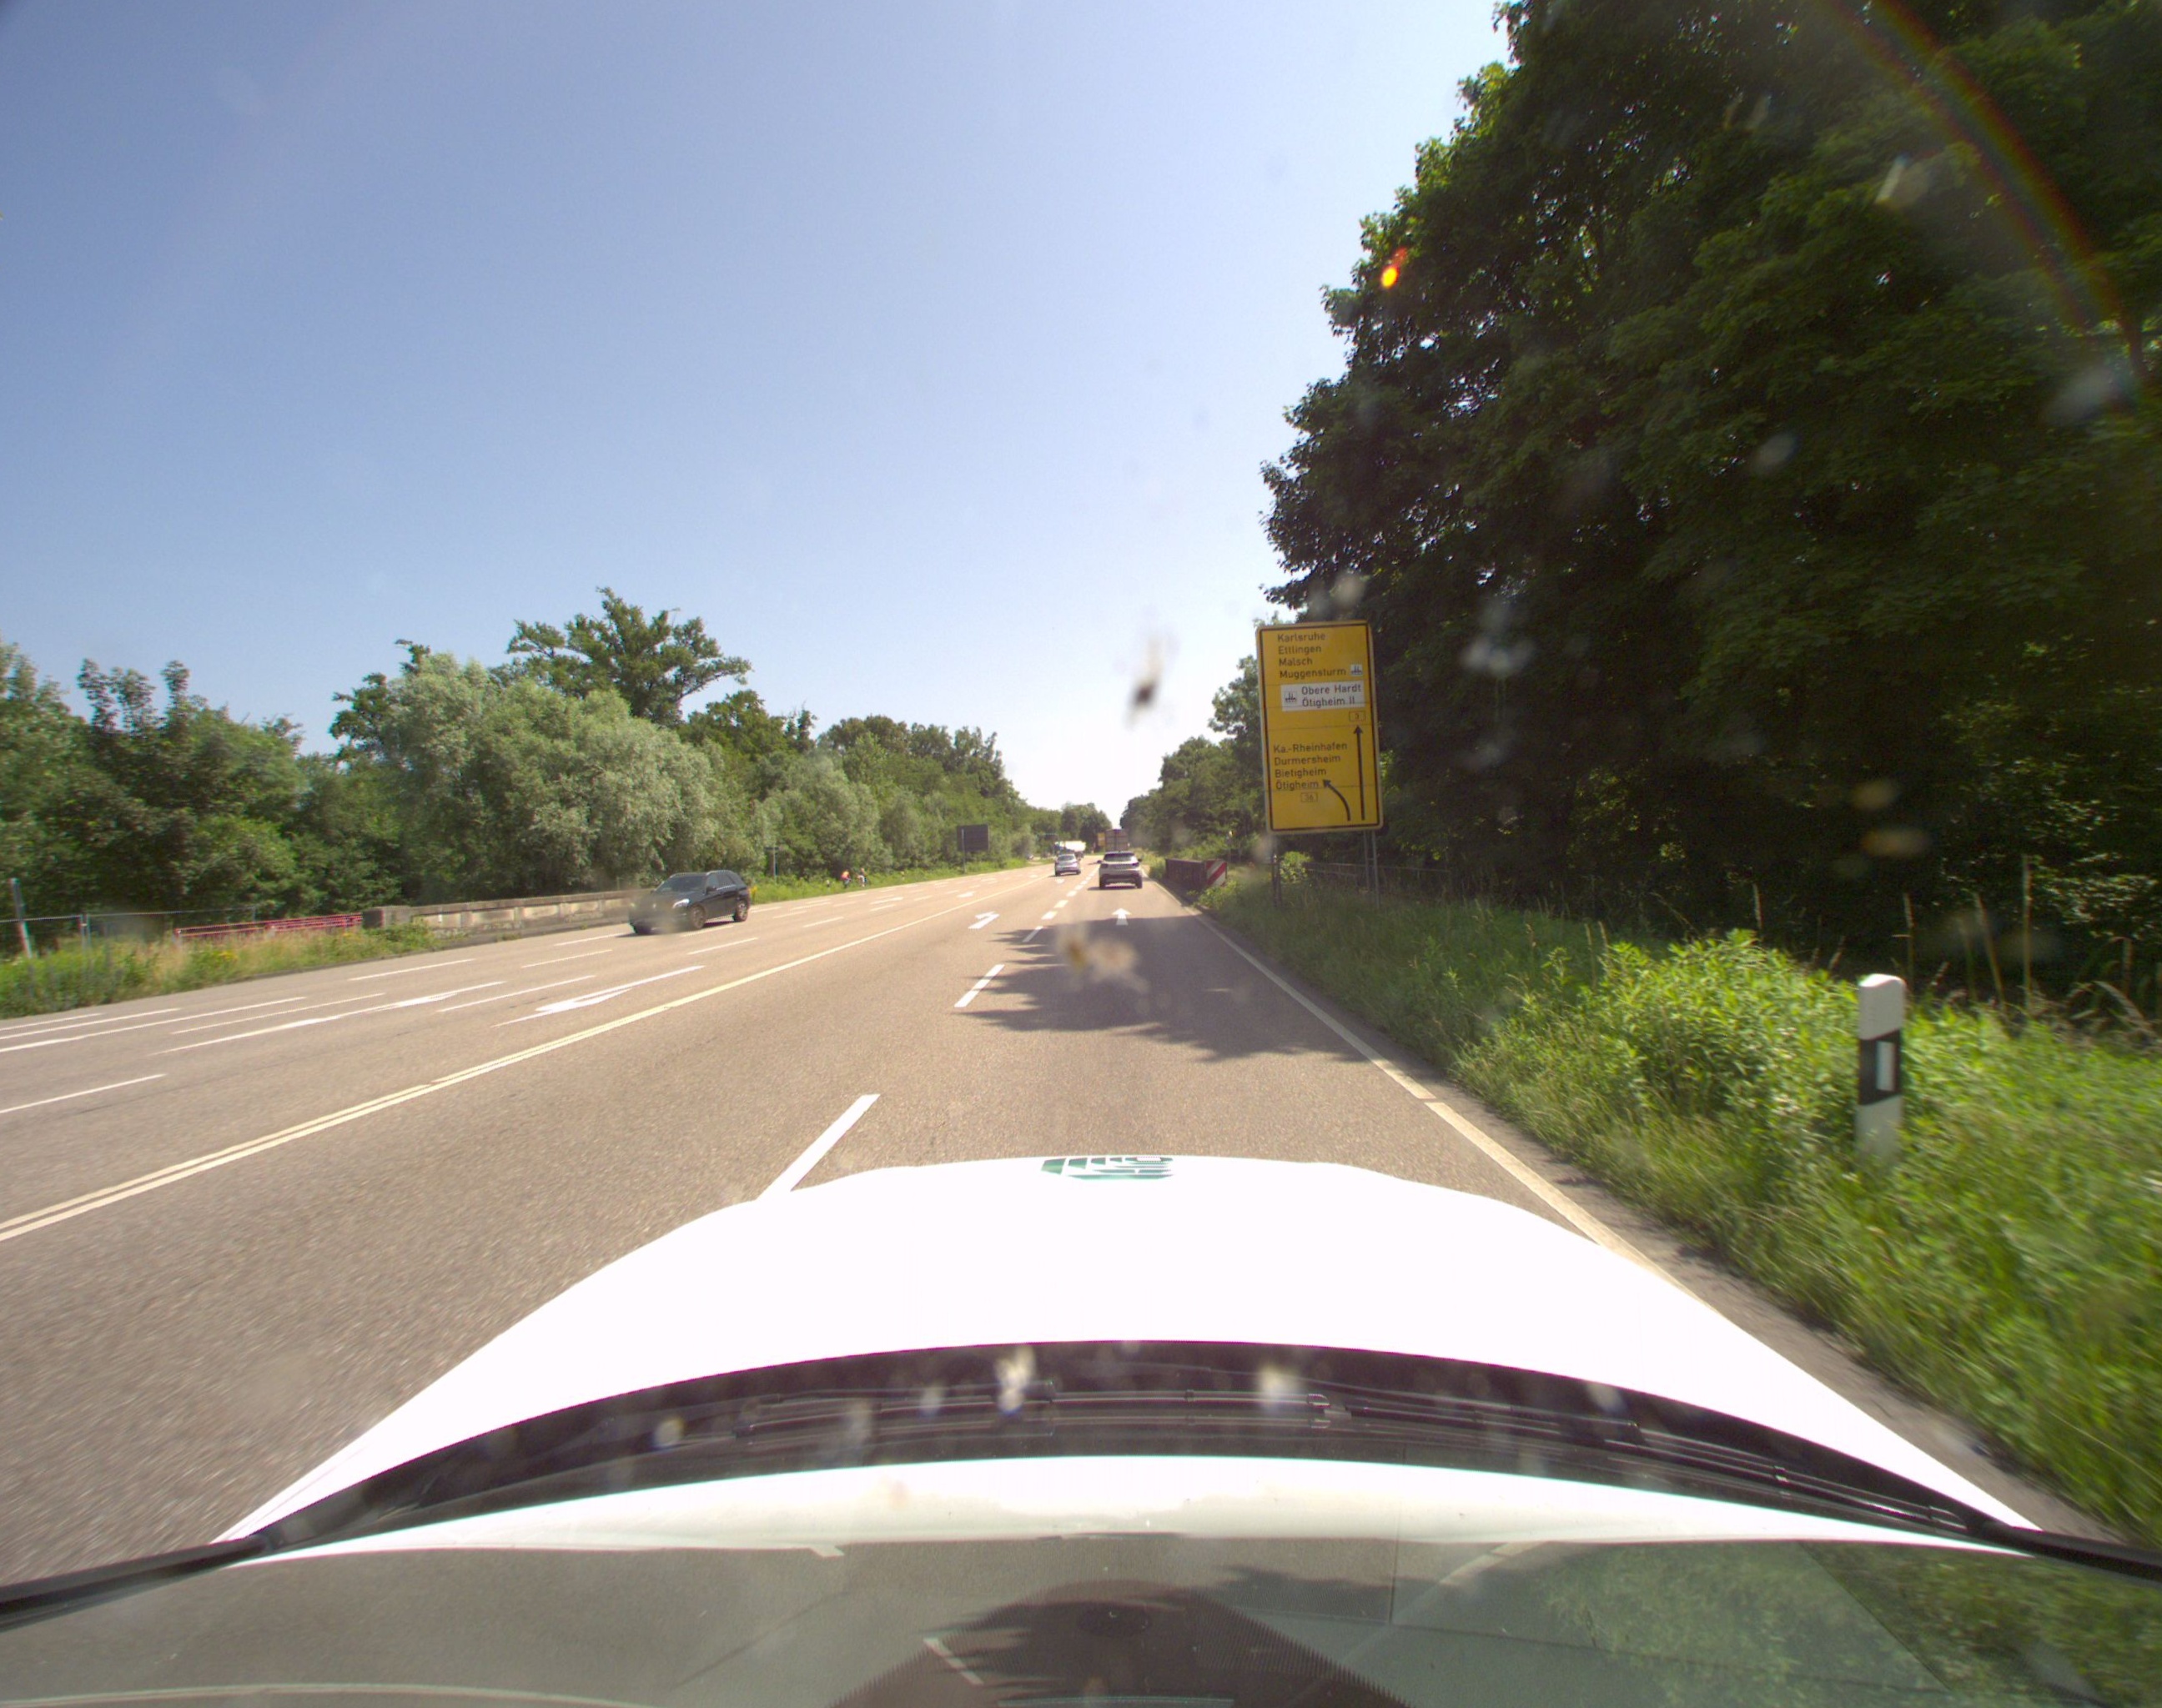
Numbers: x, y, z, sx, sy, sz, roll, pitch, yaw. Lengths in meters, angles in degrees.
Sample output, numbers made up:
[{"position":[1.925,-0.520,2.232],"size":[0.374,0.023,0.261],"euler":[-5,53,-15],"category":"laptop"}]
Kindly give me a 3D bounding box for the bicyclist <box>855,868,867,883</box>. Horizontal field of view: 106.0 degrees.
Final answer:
[{"position":[-18.293,1.821,67.783],"size":[0.730,1.195,0.594],"euler":[-4,-1,13],"category":"bicyclist"}]

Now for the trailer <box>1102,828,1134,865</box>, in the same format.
[{"position":[4.356,-0.780,94.608],"size":[3.369,3.989,10.811],"euler":[-2,0,3],"category":"trailer"}]

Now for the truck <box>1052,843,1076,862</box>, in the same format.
[{"position":[-3.924,-0.296,186.818],"size":[3.650,4.105,9.464],"euler":[-2,0,-13],"category":"truck"}]

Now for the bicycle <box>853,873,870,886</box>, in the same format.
[{"position":[-18.252,2.140,67.794],"size":[0.600,1.006,1.561],"euler":[-4,-1,14],"category":"bicycle"}]

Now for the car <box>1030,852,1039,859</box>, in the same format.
[{"position":[-12.148,0.414,212.674],"size":[1.995,1.585,3.984],"euler":[-2,0,-11],"category":"car"}]

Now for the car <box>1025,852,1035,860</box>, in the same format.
[{"position":[-12.682,0.487,201.469],"size":[1.993,1.881,3.988],"euler":[-4,0,-9],"category":"car"}]

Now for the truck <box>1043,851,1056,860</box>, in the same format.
[{"position":[-7.753,0.331,203.110],"size":[2.139,2.196,4.631],"euler":[-2,0,-16],"category":"truck"}]

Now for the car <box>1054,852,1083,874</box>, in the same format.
[{"position":[-0.818,0.620,56.540],"size":[1.659,1.430,3.831],"euler":[-2,0,3],"category":"car"}]

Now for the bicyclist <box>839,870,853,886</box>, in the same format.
[{"position":[-18.704,1.904,64.829],"size":[0.752,1.195,0.594],"euler":[-4,0,13],"category":"bicyclist"}]

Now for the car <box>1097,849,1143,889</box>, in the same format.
[{"position":[1.682,0.613,34.583],"size":[1.760,1.535,4.004],"euler":[-2,0,3],"category":"car"}]

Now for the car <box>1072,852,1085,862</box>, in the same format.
[{"position":[-0.533,0.600,170.228],"size":[1.993,2.013,4.540],"euler":[-4,0,-8],"category":"car"}]

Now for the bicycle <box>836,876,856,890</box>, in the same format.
[{"position":[-18.677,2.275,64.829],"size":[0.671,1.005,1.806],"euler":[-4,0,12],"category":"bicycle"}]

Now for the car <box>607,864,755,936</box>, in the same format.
[{"position":[-12.480,1.357,25.851],"size":[1.986,1.881,4.962],"euler":[-4,0,2],"category":"car"}]
